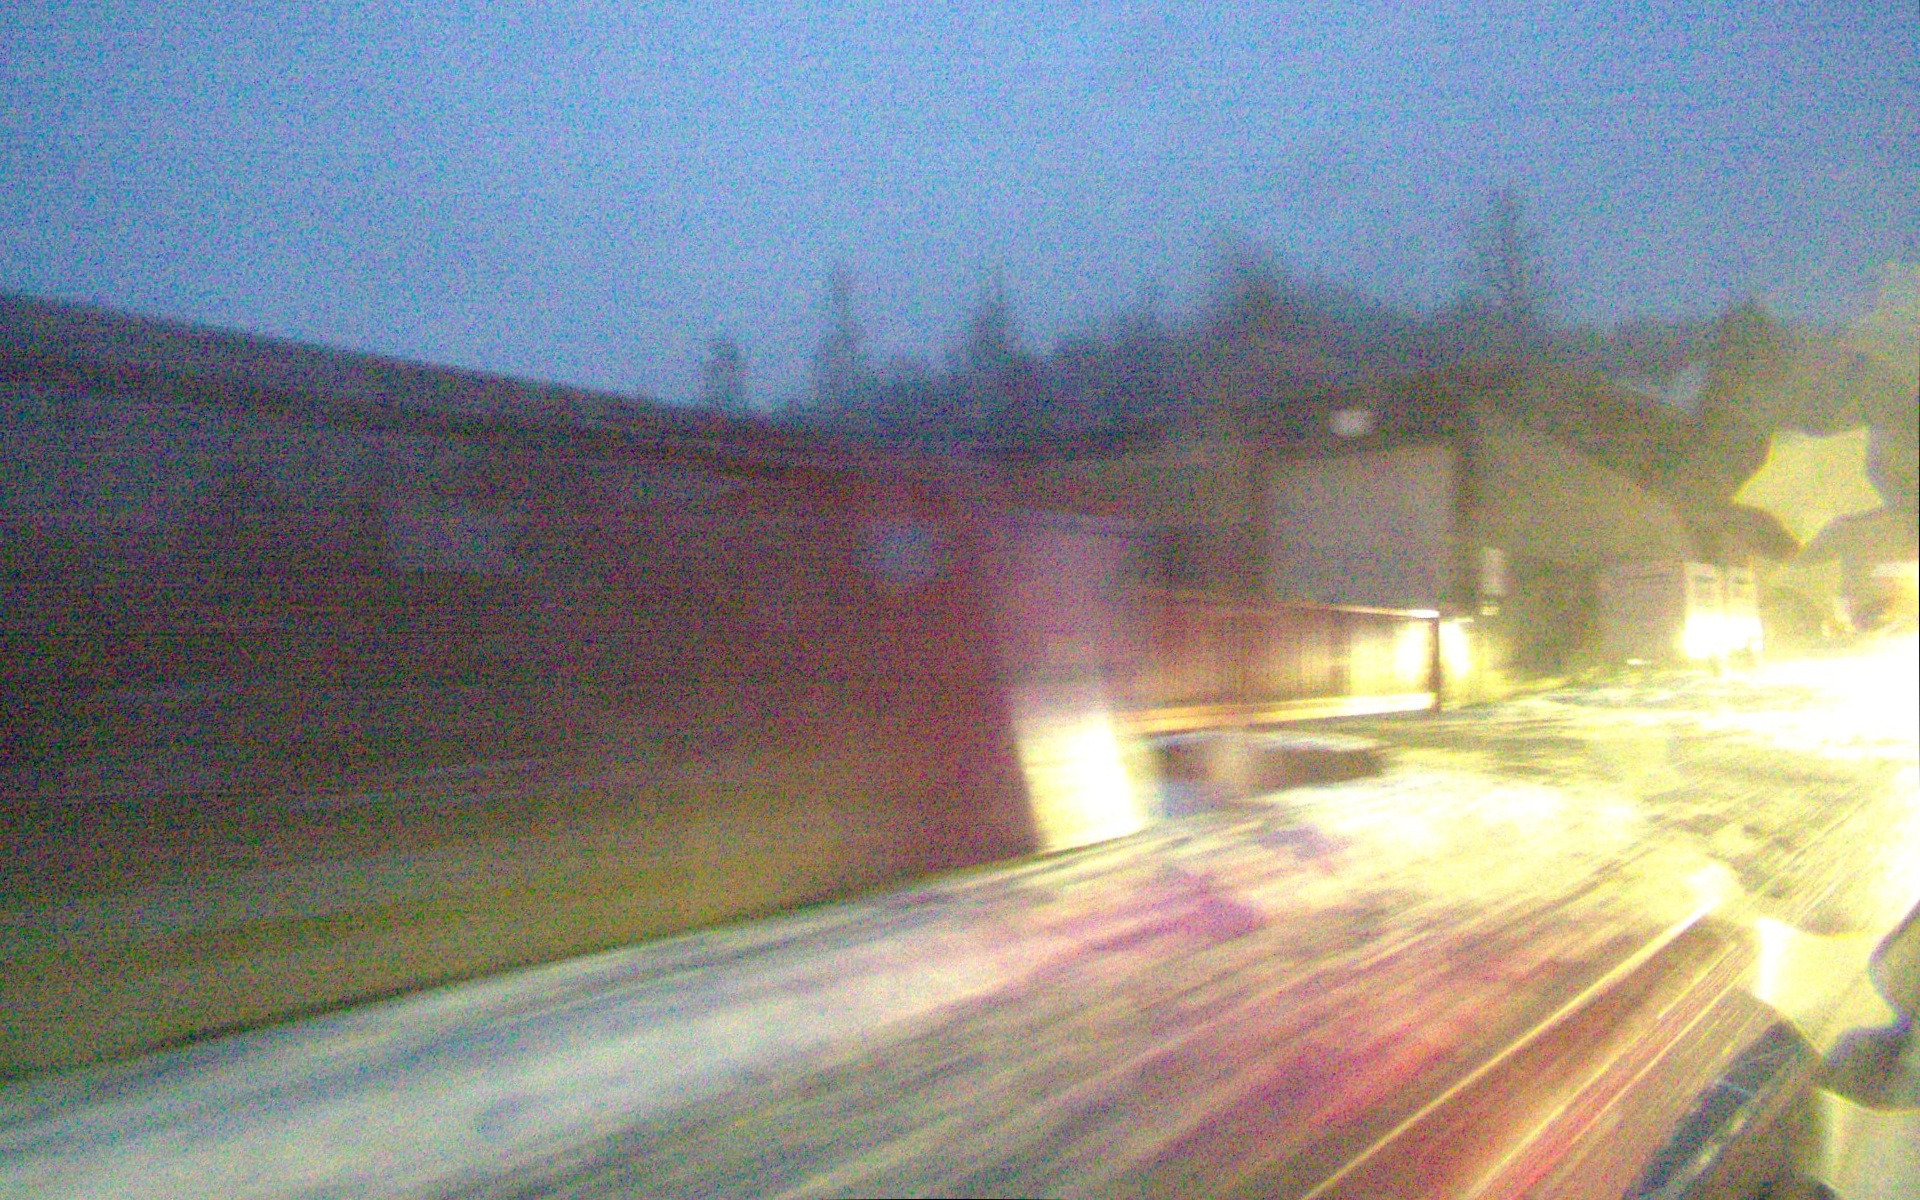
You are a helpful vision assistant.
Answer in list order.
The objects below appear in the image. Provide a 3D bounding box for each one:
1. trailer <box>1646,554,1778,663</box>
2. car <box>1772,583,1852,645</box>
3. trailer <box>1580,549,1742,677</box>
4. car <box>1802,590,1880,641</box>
[{"bbox_3d":[18.222,0.205,24.454,4.355,2.383,1.607,-1,-3,-42],"label":"trailer"},{"bbox_3d":[30.512,0.481,36.191,1.877,2.066,4.322,-3,-1,43],"label":"car"},{"bbox_3d":[14.629,0.263,21.019,4.574,2.395,1.631,-1,-3,-42],"label":"trailer"},{"bbox_3d":[33.975,0.570,39.006,4.088,1.833,1.879,-1,-1,-44],"label":"car"}]
